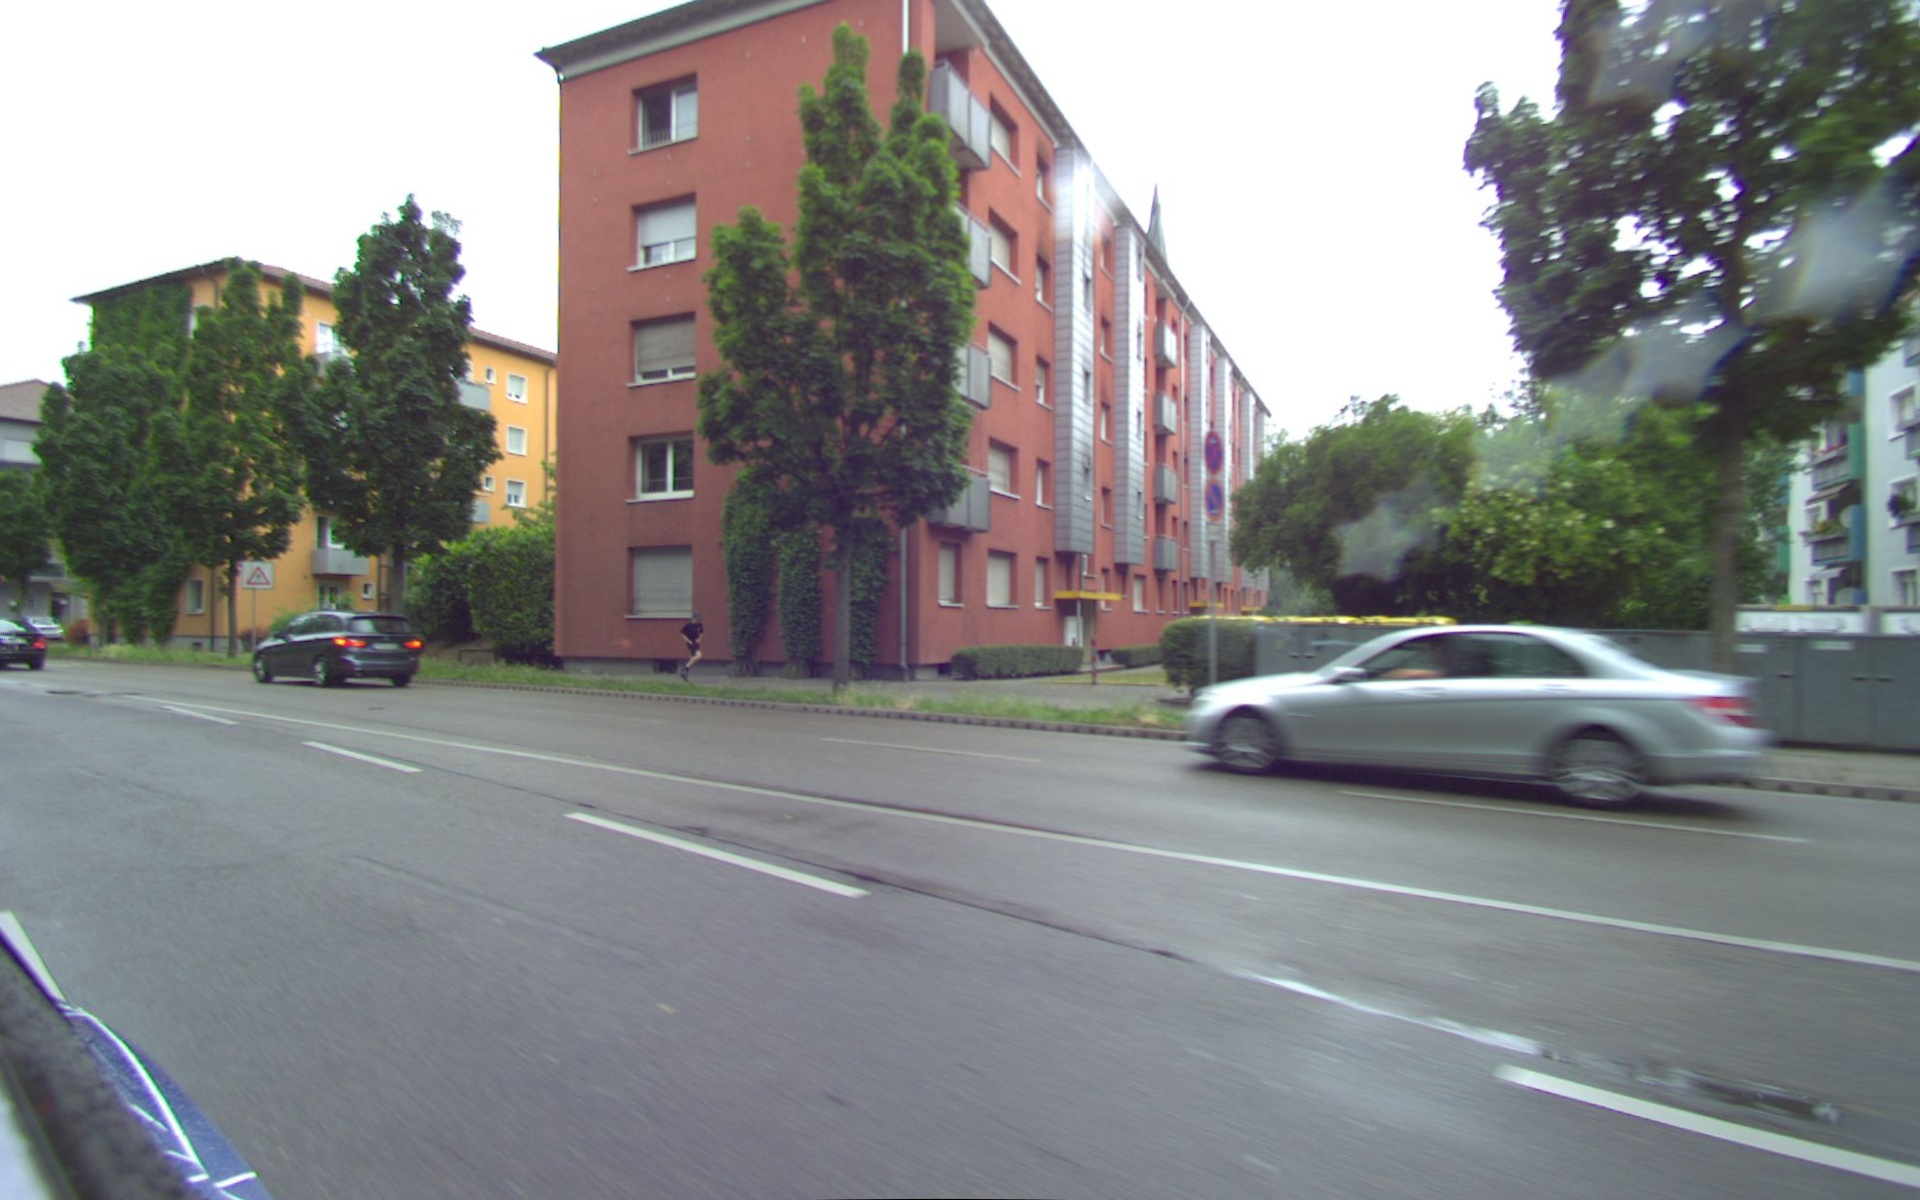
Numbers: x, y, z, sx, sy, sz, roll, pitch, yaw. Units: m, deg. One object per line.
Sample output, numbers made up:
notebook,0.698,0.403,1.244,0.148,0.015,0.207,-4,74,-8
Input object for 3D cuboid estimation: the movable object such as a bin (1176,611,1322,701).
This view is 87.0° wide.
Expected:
movable object such as a bin,4.591,0.858,16.103,1.961,1.341,1.147,-1,-2,34

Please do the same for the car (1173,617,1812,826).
car,4.414,0.898,8.949,4.619,1.401,1.856,-1,-4,37

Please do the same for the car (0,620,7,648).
car,-54.843,1.881,55.975,4.616,1.497,1.838,0,1,30

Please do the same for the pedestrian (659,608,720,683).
pedestrian,-5.668,0.950,21.218,1.066,1.529,0.687,-1,-2,31

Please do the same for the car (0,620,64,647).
car,-53.679,1.925,58.330,4.211,1.537,1.718,-1,-2,30

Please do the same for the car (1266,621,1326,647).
car,24.909,2.507,74.985,3.978,1.852,1.983,-1,-2,26

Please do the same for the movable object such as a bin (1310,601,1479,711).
movable object such as a bin,6.374,0.795,14.861,2.082,1.496,1.205,-1,-2,34

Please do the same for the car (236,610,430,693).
car,-13.554,1.089,21.823,4.452,1.614,1.858,-1,-3,34

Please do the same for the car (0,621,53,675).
car,-26.368,1.278,27.320,4.350,1.395,1.825,-1,-3,35
